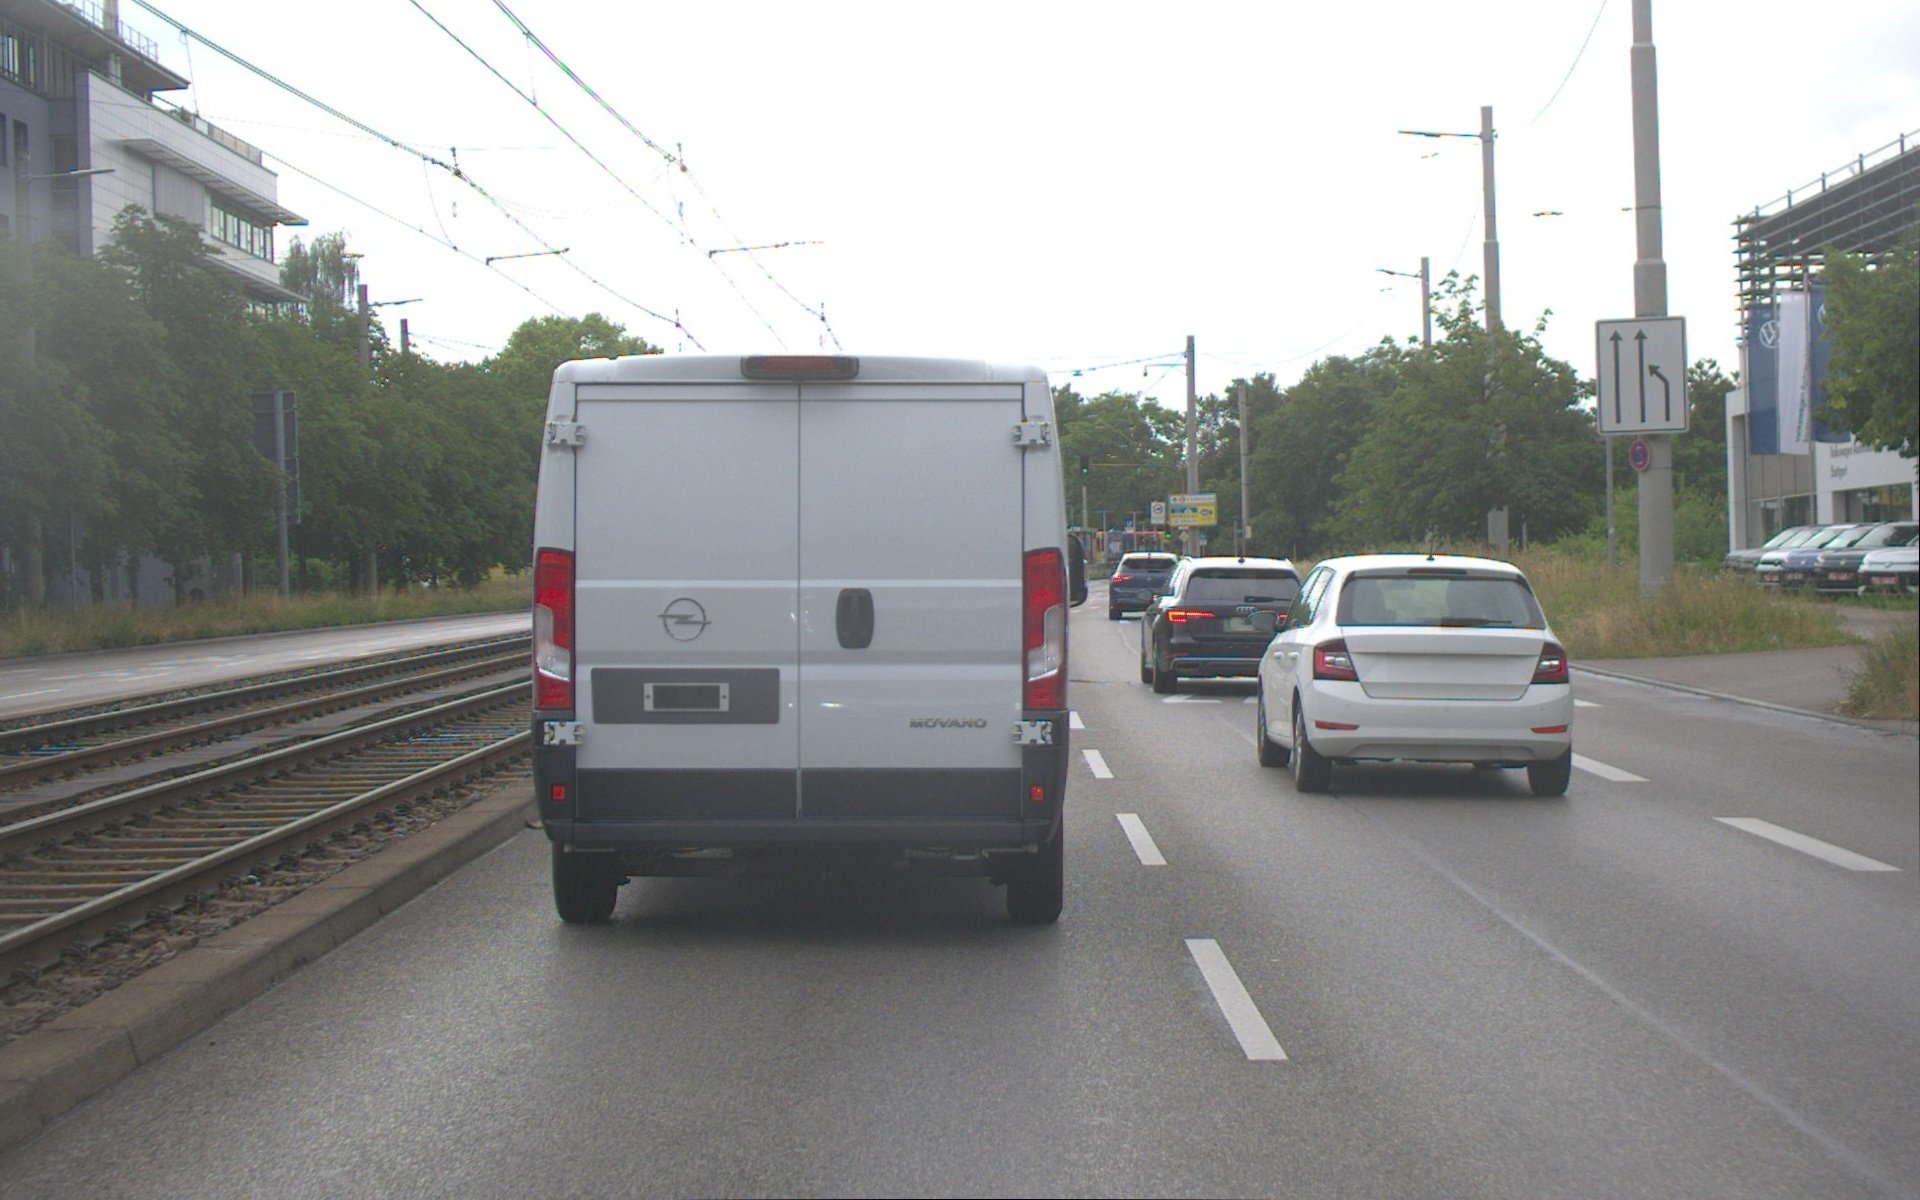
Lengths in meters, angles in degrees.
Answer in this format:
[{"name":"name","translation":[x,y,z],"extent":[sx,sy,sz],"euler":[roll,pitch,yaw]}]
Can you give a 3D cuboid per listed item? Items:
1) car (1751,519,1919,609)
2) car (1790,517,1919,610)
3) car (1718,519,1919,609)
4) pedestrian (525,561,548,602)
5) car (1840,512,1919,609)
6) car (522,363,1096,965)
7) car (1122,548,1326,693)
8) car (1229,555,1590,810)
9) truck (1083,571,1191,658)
[{"name":"car","translation":[17.518,-0.720,66.681],"extent":[4.177,1.563,1.799],"euler":[-3,0,-34]},{"name":"car","translation":[17.269,-0.700,63.000],"extent":[4.178,1.563,1.798],"euler":[-3,0,-40]},{"name":"car","translation":[17.775,-0.746,70.010],"extent":[4.340,1.621,1.856],"euler":[-3,0,-29]},{"name":"pedestrian","translation":[-21.031,-0.905,170.714],"extent":[0.887,2.007,0.865],"euler":[-1,0,12]},{"name":"car","translation":[17.188,-0.740,58.962],"extent":[4.087,1.563,1.799],"euler":[-3,0,-36]},{"name":"car","translation":[-0.543,0.192,15.134],"extent":[2.090,2.189,5.061],"euler":[0,1,0]},{"name":"car","translation":[2.740,0.199,36.472],"extent":[1.789,1.444,4.000],"euler":[0,0,-1]},{"name":"car","translation":[2.785,0.463,22.033],"extent":[1.746,1.452,3.671],"euler":[1,1,-1]},{"name":"truck","translation":[3.871,0.297,75.677],"extent":[1.993,1.784,4.414],"euler":[-1,1,-1]}]
